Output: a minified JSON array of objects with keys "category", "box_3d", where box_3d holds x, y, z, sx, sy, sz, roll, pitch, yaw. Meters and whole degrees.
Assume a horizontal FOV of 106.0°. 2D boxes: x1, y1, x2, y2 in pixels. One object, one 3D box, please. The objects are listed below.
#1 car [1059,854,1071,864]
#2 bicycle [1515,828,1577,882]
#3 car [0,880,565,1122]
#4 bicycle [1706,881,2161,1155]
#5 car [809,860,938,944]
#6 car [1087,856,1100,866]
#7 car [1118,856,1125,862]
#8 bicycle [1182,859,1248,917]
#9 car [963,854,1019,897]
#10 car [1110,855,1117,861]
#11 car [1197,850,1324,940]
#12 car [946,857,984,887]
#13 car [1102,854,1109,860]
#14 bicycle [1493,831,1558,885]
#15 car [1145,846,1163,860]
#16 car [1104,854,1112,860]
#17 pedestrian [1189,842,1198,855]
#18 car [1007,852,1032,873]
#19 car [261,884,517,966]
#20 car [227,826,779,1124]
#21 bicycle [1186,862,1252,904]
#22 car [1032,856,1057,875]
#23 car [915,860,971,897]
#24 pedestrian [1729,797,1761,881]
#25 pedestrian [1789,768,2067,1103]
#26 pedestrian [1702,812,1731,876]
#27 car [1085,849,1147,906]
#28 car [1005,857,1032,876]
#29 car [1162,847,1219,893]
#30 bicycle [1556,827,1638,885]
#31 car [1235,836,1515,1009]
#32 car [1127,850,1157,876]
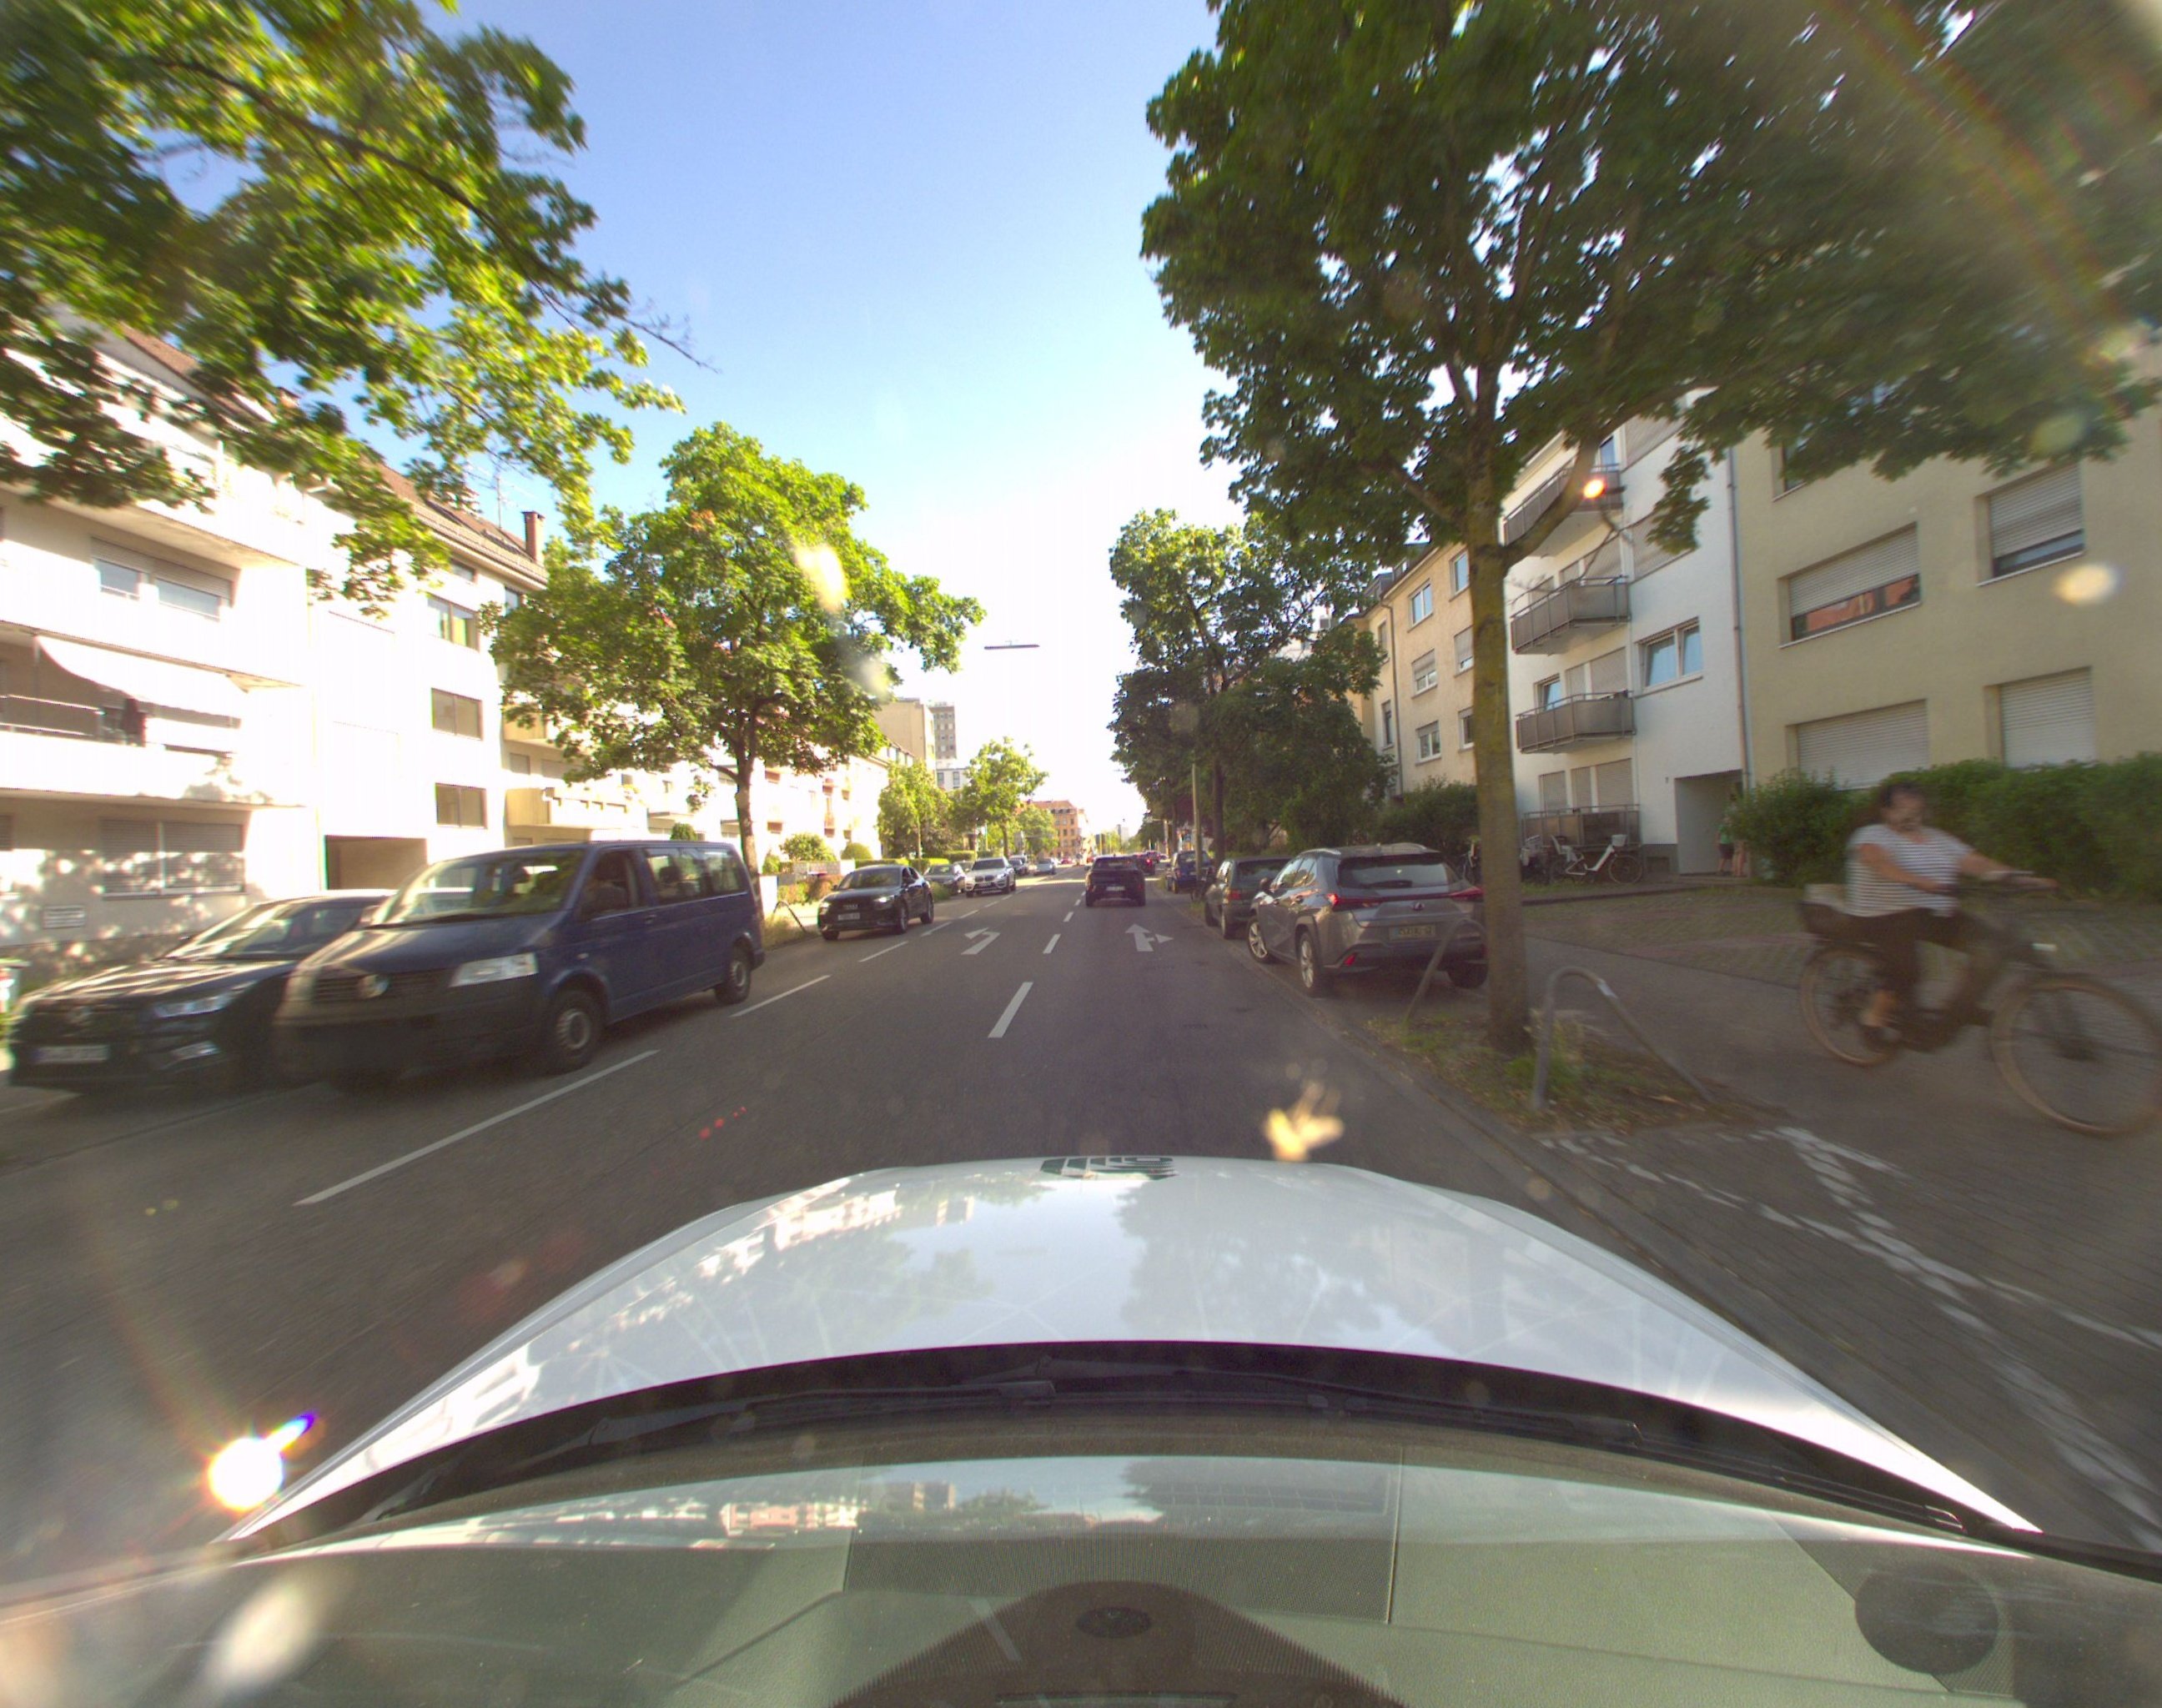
[{"category":"car","box_3d":[-2.721,0.797,143.501,1.784,1.617,4.003,-3,0,2]},{"category":"bicycle","box_3d":[12.058,0.016,21.163,0.589,1.287,1.690,-6,0,2]},{"category":"car","box_3d":[-7.337,1.149,8.037,1.715,1.596,4.138,-2,0,2]},{"category":"bicycle","box_3d":[4.679,0.744,4.584,0.679,1.069,2.128,-3,0,2]},{"category":"car","box_3d":[-4.740,1.021,19.281,1.713,1.566,4.344,-6,0,1]},{"category":"car","box_3d":[2.013,1.044,129.023,1.764,1.452,3.888,-3,0,3]},{"category":"car","box_3d":[11.503,1.514,229.260,1.853,1.660,4.004,0,0,3]},{"category":"bicycle","box_3d":[3.151,0.775,19.064,1.676,1.237,0.466,-3,0,-37]},{"category":"car","box_3d":[-4.004,0.915,36.816,1.800,1.648,4.673,-5,0,1]},{"category":"car","box_3d":[9.965,1.257,248.758,1.987,1.865,4.000,0,0,0]},{"category":"car","box_3d":[3.239,0.672,15.401,1.605,1.383,3.978,-3,0,2]},{"category":"car","box_3d":[-6.461,0.988,45.740,1.671,1.525,3.656,-1,0,-2]},{"category":"car","box_3d":[5.871,0.717,195.282,1.803,1.407,4.002,-3,0,2]},{"category":"bicycle","box_3d":[11.441,0.101,21.045,0.620,1.287,1.843,-6,0,2]},{"category":"car","box_3d":[8.593,-0.110,95.781,1.823,1.452,3.990,-3,0,2]},{"category":"car","box_3d":[6.894,0.799,209.147,1.985,1.519,4.004,0,0,3]},{"category":"pedestrian","box_3d":[14.679,-0.728,106.138,1.038,1.659,0.783,-3,0,-2]},{"category":"car","box_3d":[-5.624,0.743,74.937,1.813,1.834,4.561,-3,0,0]},{"category":"car","box_3d":[-15.170,1.531,18.020,3.973,1.486,1.881,-2,1,1]},{"category":"car","box_3d":[-4.895,0.833,8.012,1.796,1.910,4.713,-5,0,2]},{"category":"bicycle","box_3d":[3.853,0.811,22.800,1.729,1.022,0.525,-5,-3,9]},{"category":"car","box_3d":[-3.045,0.916,67.978,1.731,1.381,3.937,-4,0,1]},{"category":"car","box_3d":[-6.550,1.142,39.080,1.779,1.493,4.493,-3,1,1]},{"category":"pedestrian","box_3d":[13.890,-0.304,17.044,0.364,1.737,0.365,0,0,-5]},{"category":"pedestrian","box_3d":[4.685,0.418,4.571,0.667,1.682,0.776,-3,0,1]},{"category":"pedestrian","box_3d":[14.001,-0.217,17.947,0.365,1.383,0.364,0,0,-15]},{"category":"car","box_3d":[1.054,0.679,25.198,1.739,1.573,3.559,-2,0,2]},{"category":"car","box_3d":[-5.201,0.997,68.416,1.664,1.456,4.114,-3,0,3]},{"category":"car","box_3d":[4.086,0.587,30.958,1.554,1.515,3.654,-5,0,0]},{"category":"bicycle","box_3d":[12.206,0.046,19.299,1.520,1.222,0.466,-6,0,32]},{"category":"car","box_3d":[3.102,0.625,9.591,1.708,1.489,4.234,-3,0,0]},{"category":"car","box_3d":[4.073,0.588,54.968,1.823,1.578,3.842,-3,0,2]}]
